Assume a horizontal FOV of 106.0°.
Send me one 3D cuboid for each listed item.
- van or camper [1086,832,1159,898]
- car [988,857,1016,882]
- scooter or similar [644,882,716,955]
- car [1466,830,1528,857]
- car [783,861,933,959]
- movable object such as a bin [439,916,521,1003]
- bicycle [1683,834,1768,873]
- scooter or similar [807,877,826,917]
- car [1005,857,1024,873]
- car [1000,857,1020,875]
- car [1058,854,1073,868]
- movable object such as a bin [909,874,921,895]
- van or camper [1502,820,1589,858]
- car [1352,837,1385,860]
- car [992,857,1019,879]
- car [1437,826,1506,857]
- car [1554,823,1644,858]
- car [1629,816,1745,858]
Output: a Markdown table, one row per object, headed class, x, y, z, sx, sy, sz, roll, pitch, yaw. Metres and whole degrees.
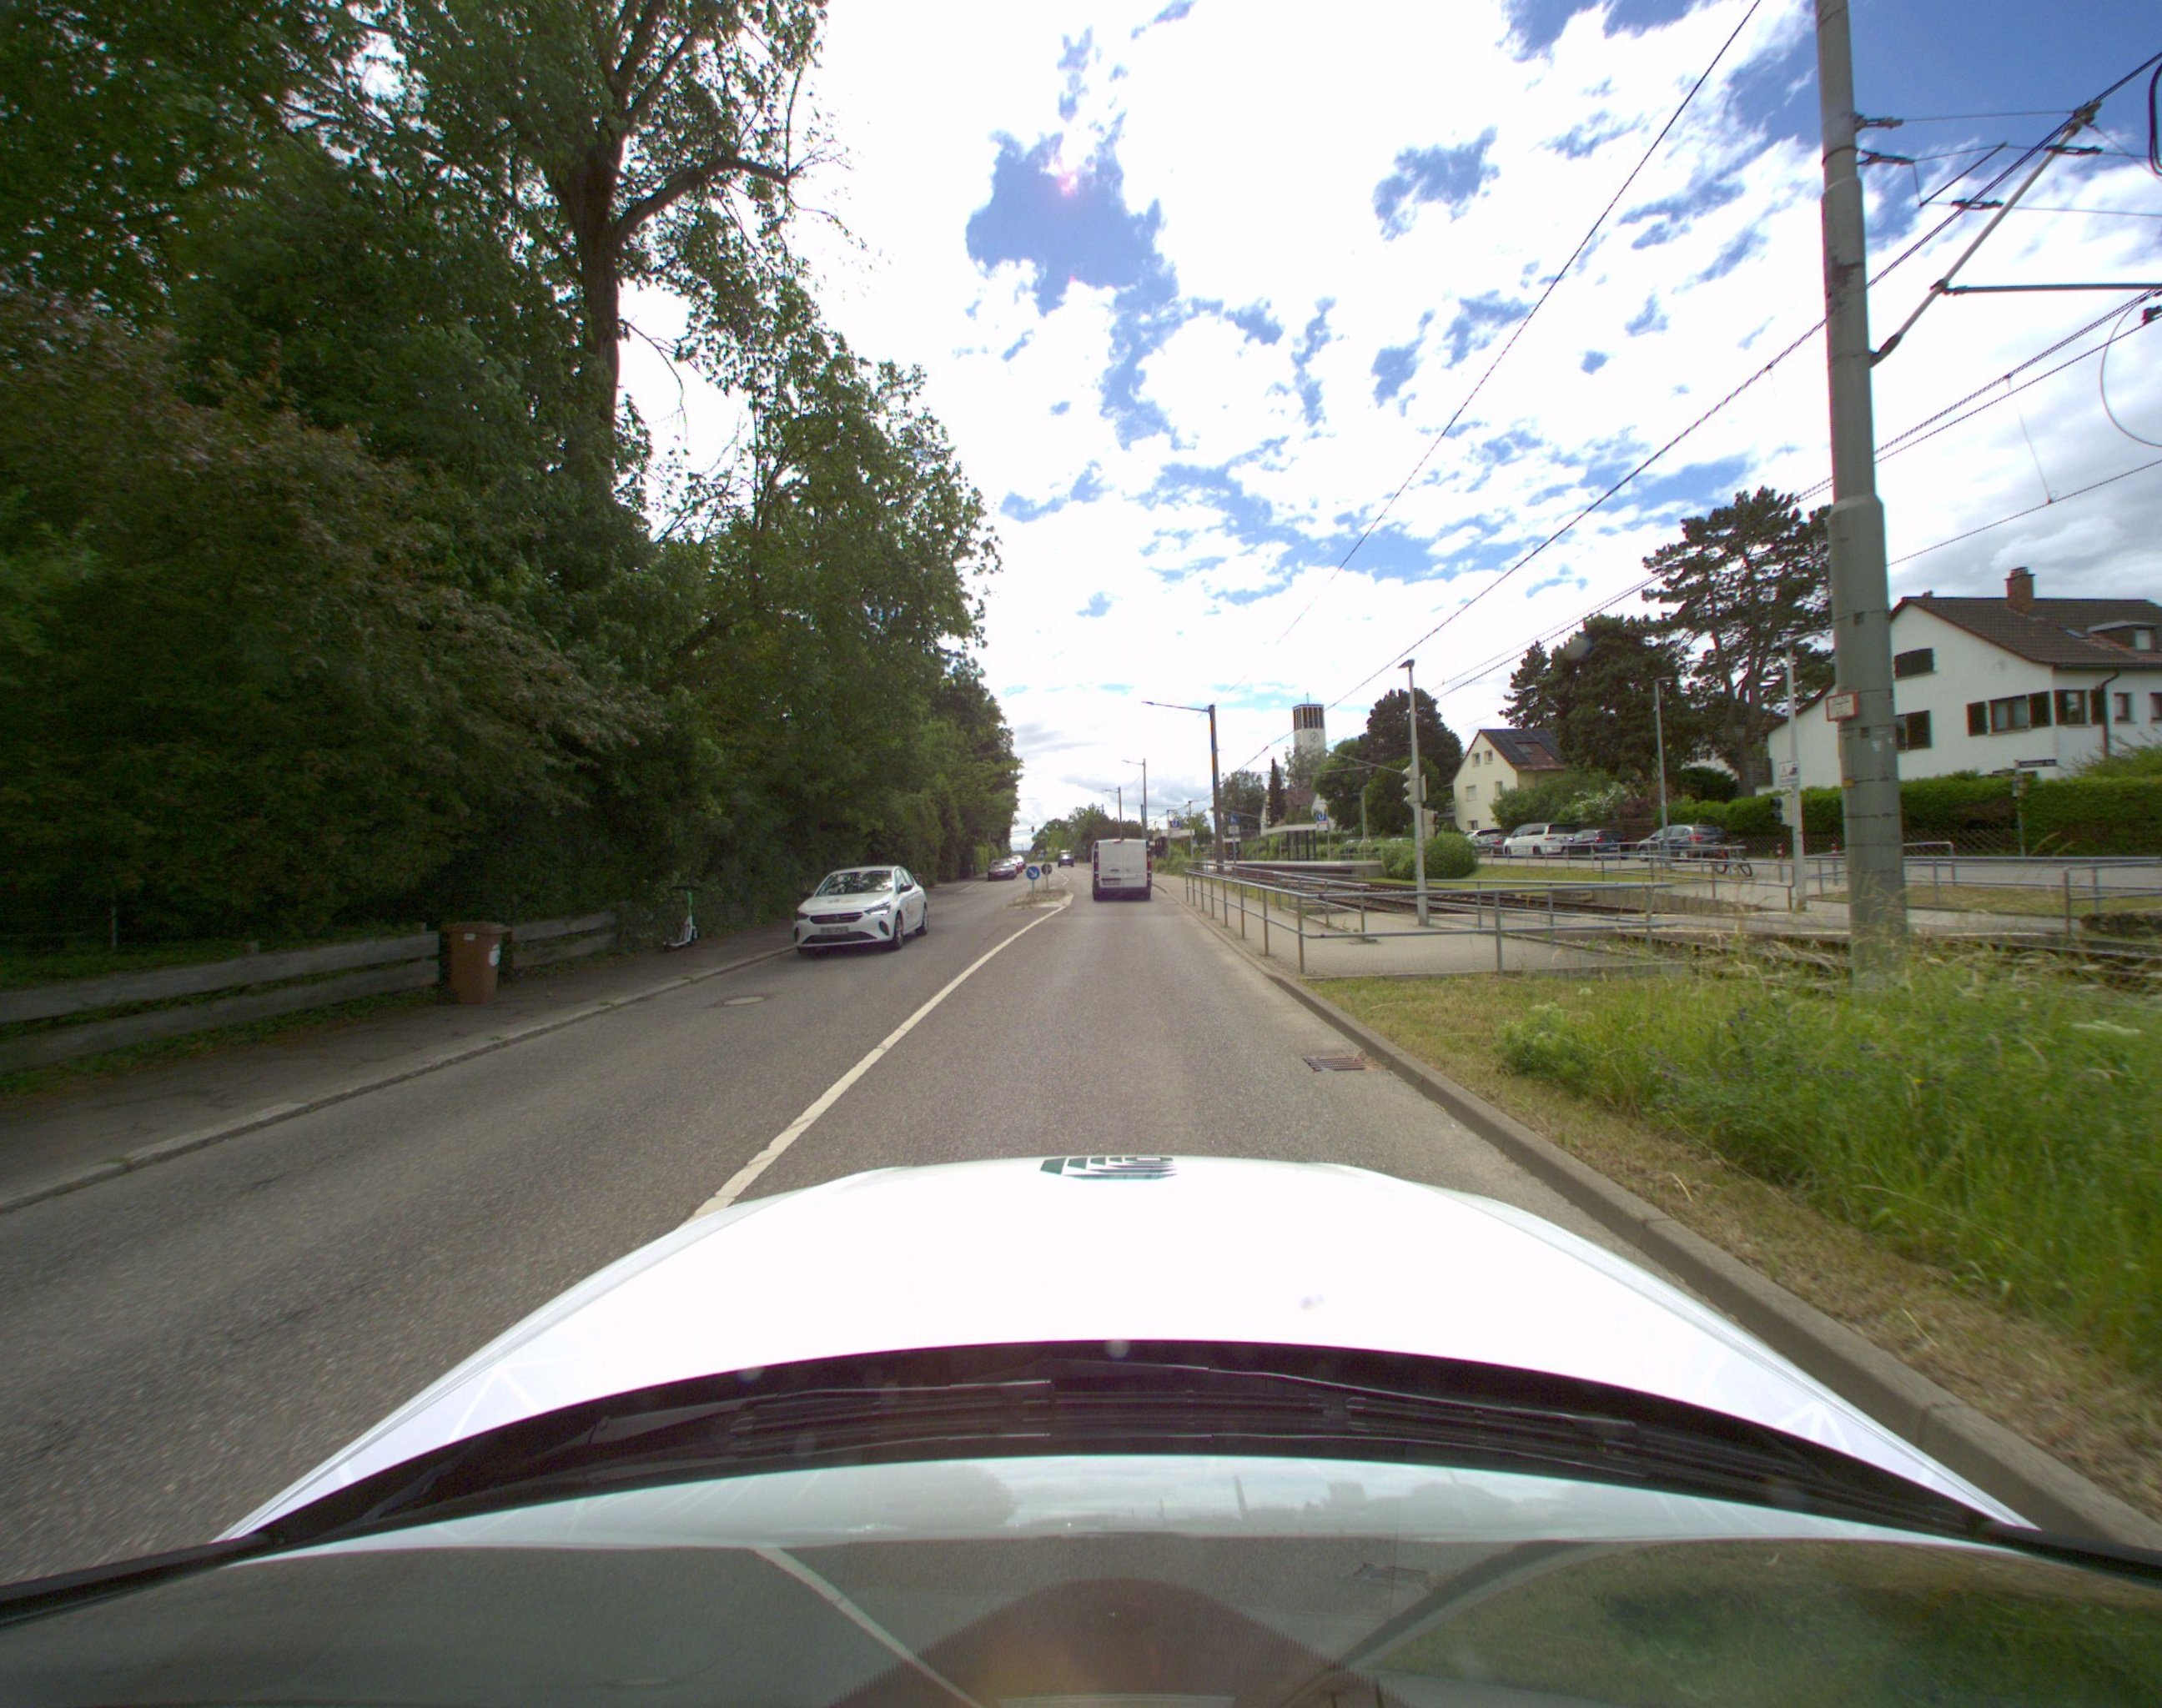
| class | x | y | z | sx | sy | sz | roll | pitch | yaw |
| --- | --- | --- | --- | --- | --- | --- | --- | --- | --- |
| van or camper | 1.294 | 0.376 | 27.447 | 1.989 | 2.014 | 4.440 | -1 | -1 | -3 |
| car | -5.414 | 1.030 | 56.319 | 1.733 | 1.505 | 4.471 | -4 | 0 | -4 |
| scooter or similar | -7.366 | 1.150 | 15.032 | 0.407 | 1.199 | 1.640 | -2 | 0 | 3 |
| car | 25.357 | -0.604 | 49.780 | 1.875 | 1.522 | 4.003 | -2 | 0 | 3 |
| car | -3.910 | 0.911 | 14.928 | 1.689 | 1.430 | 3.784 | -4 | 0 | -2 |
| movable object such as a bin | -7.023 | 1.222 | 9.535 | 0.511 | 0.945 | 0.569 | -1 | -1 | 1 |
| bicycle | 18.741 | -0.002 | 23.753 | 0.536 | 1.045 | 2.542 | -2 | 0 | 3 |
| scooter or similar | -7.554 | 1.210 | 23.280 | 0.478 | 1.081 | 1.207 | -1 | 0 | -17 |
| car | -6.652 | 1.117 | 81.346 | 1.759 | 1.471 | 4.179 | -3 | 0 | -5 |
| car | -6.415 | 1.040 | 73.838 | 1.584 | 1.505 | 3.512 | -4 | 0 | -2 |
| car | -1.939 | 0.874 | 102.695 | 1.847 | 1.648 | 3.733 | -2 | 0 | -1 |
| movable object such as a bin | -7.531 | 1.398 | 36.951 | 0.463 | 0.930 | 0.428 | 2 | -2 | -15 |
| van or camper | 24.962 | -0.749 | 43.981 | 1.898 | 1.826 | 5.049 | -2 | 0 | 2 |
| car | 26.200 | -0.480 | 74.236 | 1.725 | 1.914 | 3.936 | -1 | -1 | 2 |
| car | -5.724 | 1.066 | 61.803 | 1.732 | 1.505 | 3.959 | -4 | 0 | -2 |
| car | 29.689 | -0.949 | 62.013 | 4.319 | 1.943 | 1.744 | -5 | 0 | -4 |
| car | 24.864 | -0.611 | 39.255 | 1.875 | 1.522 | 4.003 | -2 | 0 | 3 |
| car | 24.669 | -0.644 | 33.366 | 1.875 | 1.522 | 4.003 | -2 | 0 | 3 |
